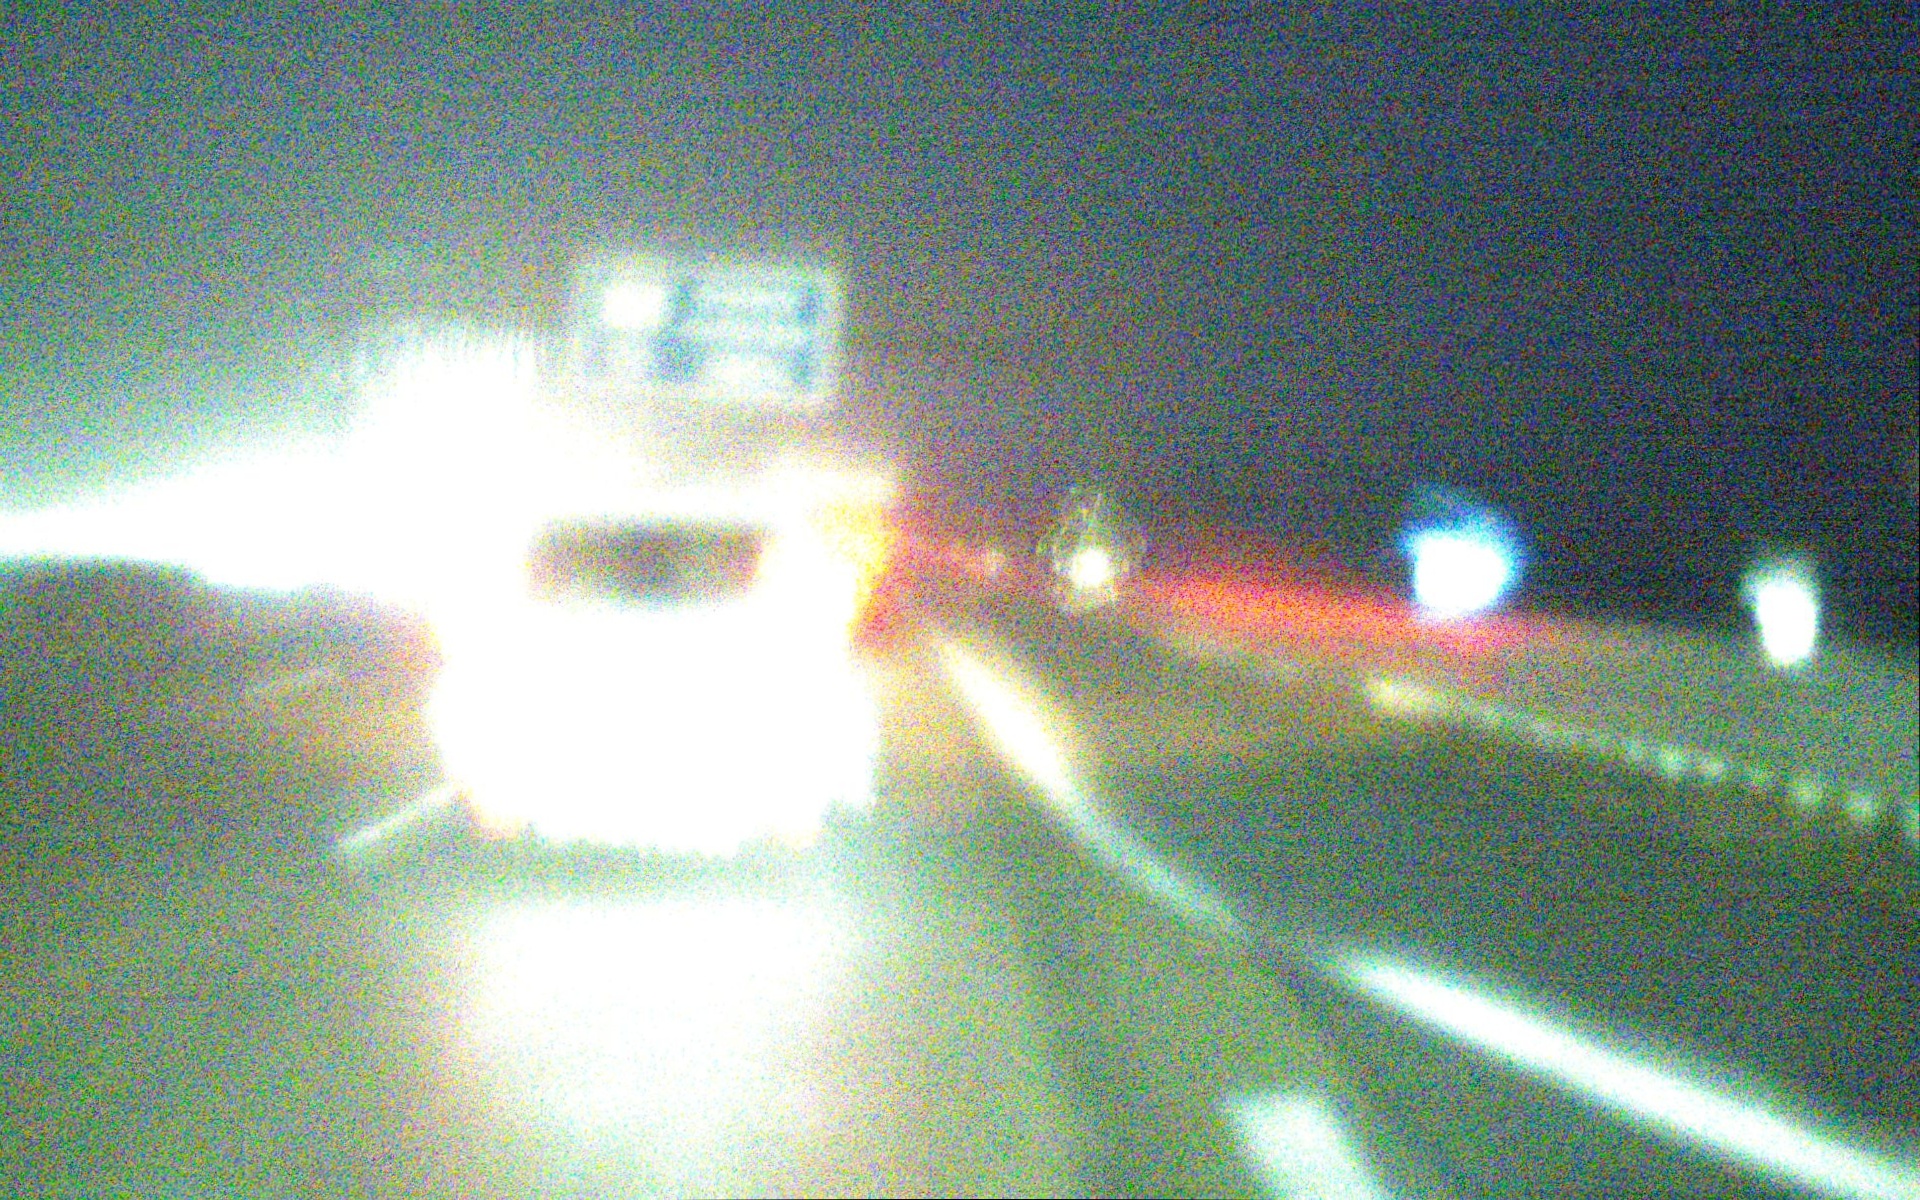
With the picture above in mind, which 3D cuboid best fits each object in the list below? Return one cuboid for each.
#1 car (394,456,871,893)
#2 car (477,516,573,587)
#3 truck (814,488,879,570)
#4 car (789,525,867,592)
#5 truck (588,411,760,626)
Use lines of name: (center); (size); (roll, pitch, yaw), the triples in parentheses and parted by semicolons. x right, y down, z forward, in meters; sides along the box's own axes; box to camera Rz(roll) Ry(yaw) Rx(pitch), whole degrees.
car: (-1.480, 0.281, 17.059); (1.953, 1.786, 5.125); (2, 1, -2)
car: (-11.730, -1.313, 92.865); (1.993, 1.701, 4.196); (5, 1, -1)
truck: (-7.262, -4.450, 218.056); (3.823, 4.898, 11.607); (2, 1, -2)
car: (-3.557, -1.117, 92.127); (1.993, 1.701, 4.196); (2, 1, -3)
truck: (-7.924, -2.230, 97.193); (4.167, 5.525, 13.076); (2, 1, -2)
